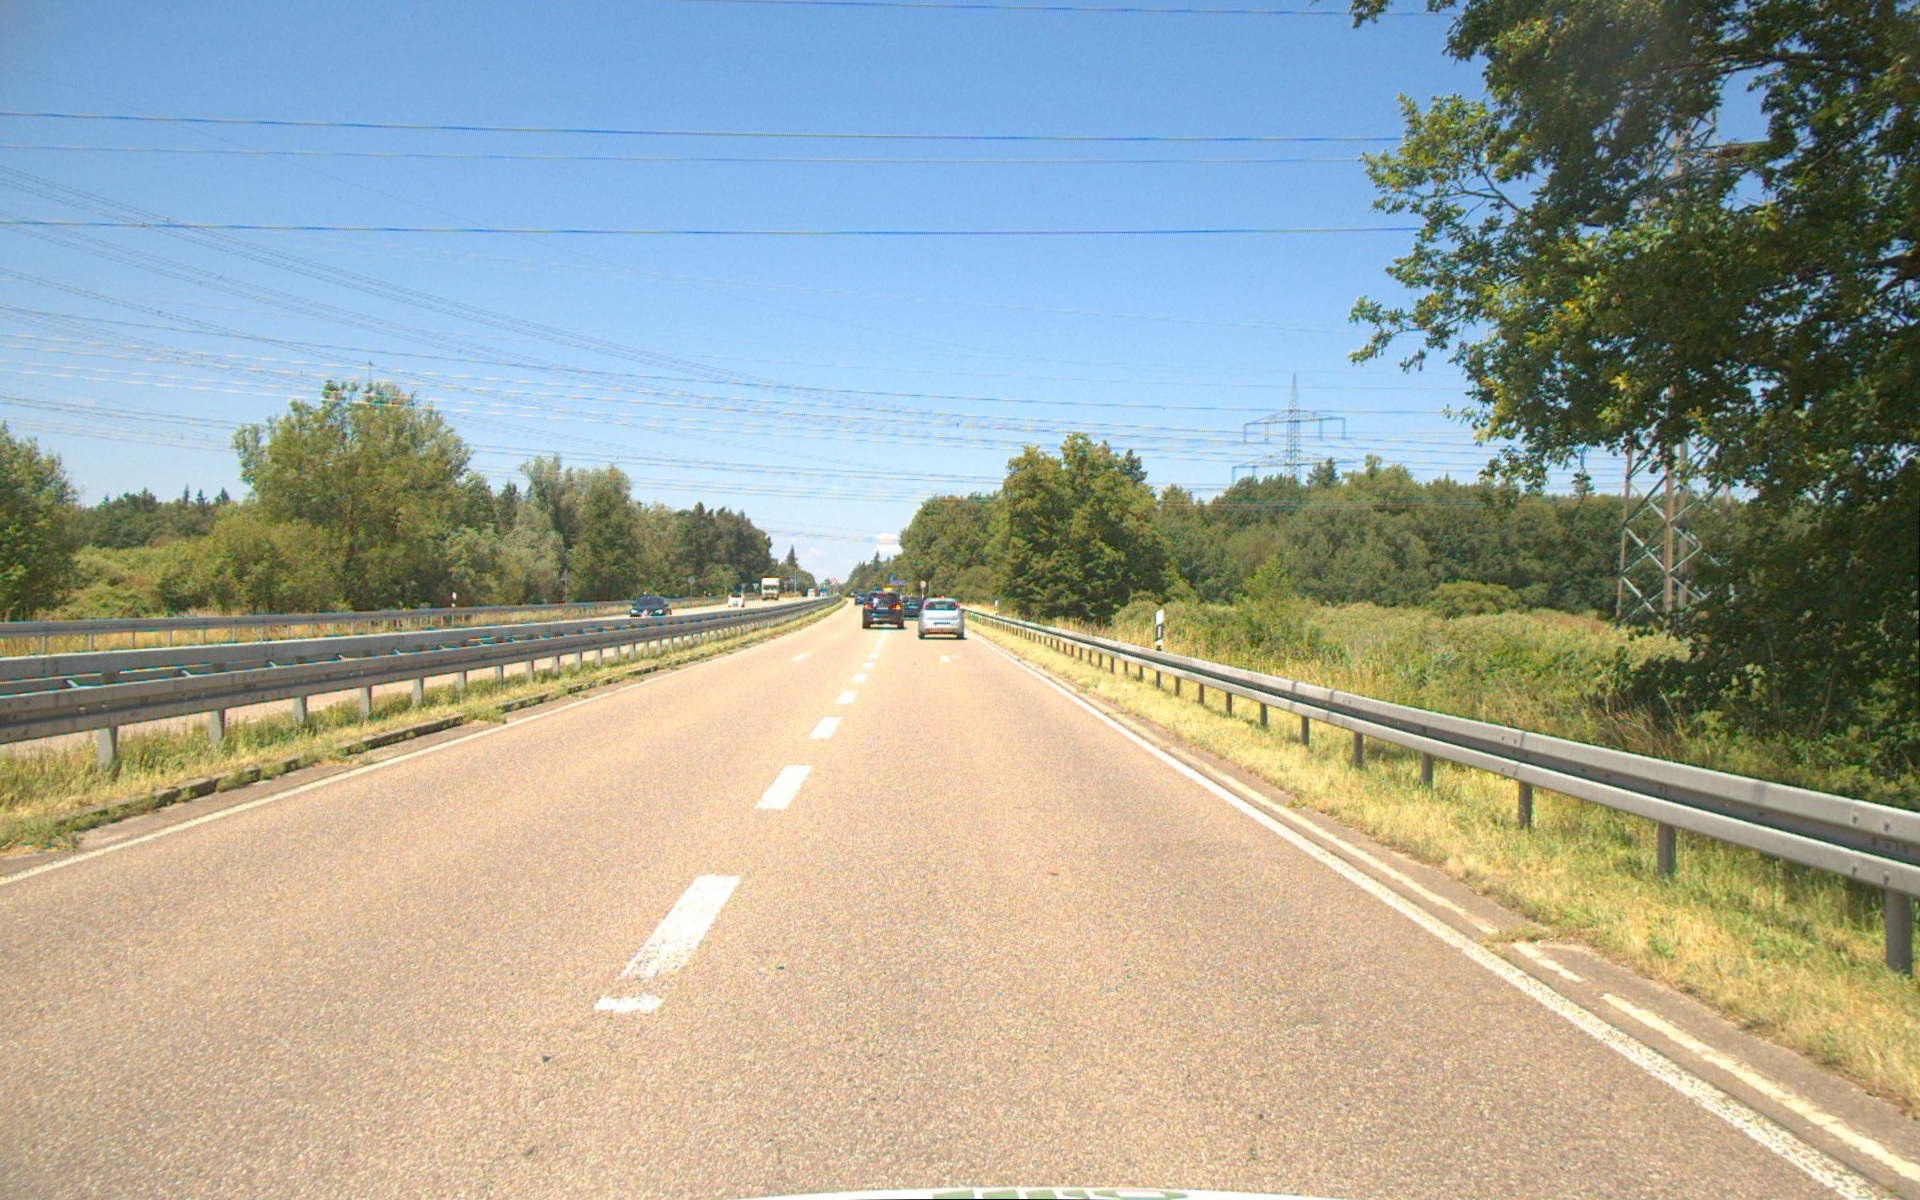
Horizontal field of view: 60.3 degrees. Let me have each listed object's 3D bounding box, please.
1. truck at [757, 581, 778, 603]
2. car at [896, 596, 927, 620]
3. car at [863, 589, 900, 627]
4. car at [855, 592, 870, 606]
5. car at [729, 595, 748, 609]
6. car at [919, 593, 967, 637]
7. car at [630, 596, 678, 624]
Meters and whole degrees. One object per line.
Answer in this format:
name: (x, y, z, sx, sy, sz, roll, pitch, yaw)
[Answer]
truck: (-29.332, -1.188, 252.692, 2.664, 3.249, 8.400, 0, 0, -3)
car: (-2.888, 0.470, 99.406, 1.606, 1.366, 3.574, 3, 0, 1)
car: (-3.700, 0.353, 77.871, 1.607, 1.682, 3.572, 3, 0, -3)
car: (-11.462, -0.092, 193.925, 1.679, 1.497, 3.571, 3, 0, -4)
car: (-22.605, 0.200, 168.924, 1.502, 1.475, 3.699, 1, 0, -3)
car: (-0.645, 0.532, 61.003, 1.607, 1.493, 3.417, 3, 0, -2)
car: (-16.006, 0.502, 86.642, 1.808, 1.437, 4.678, 0, 0, -3)
